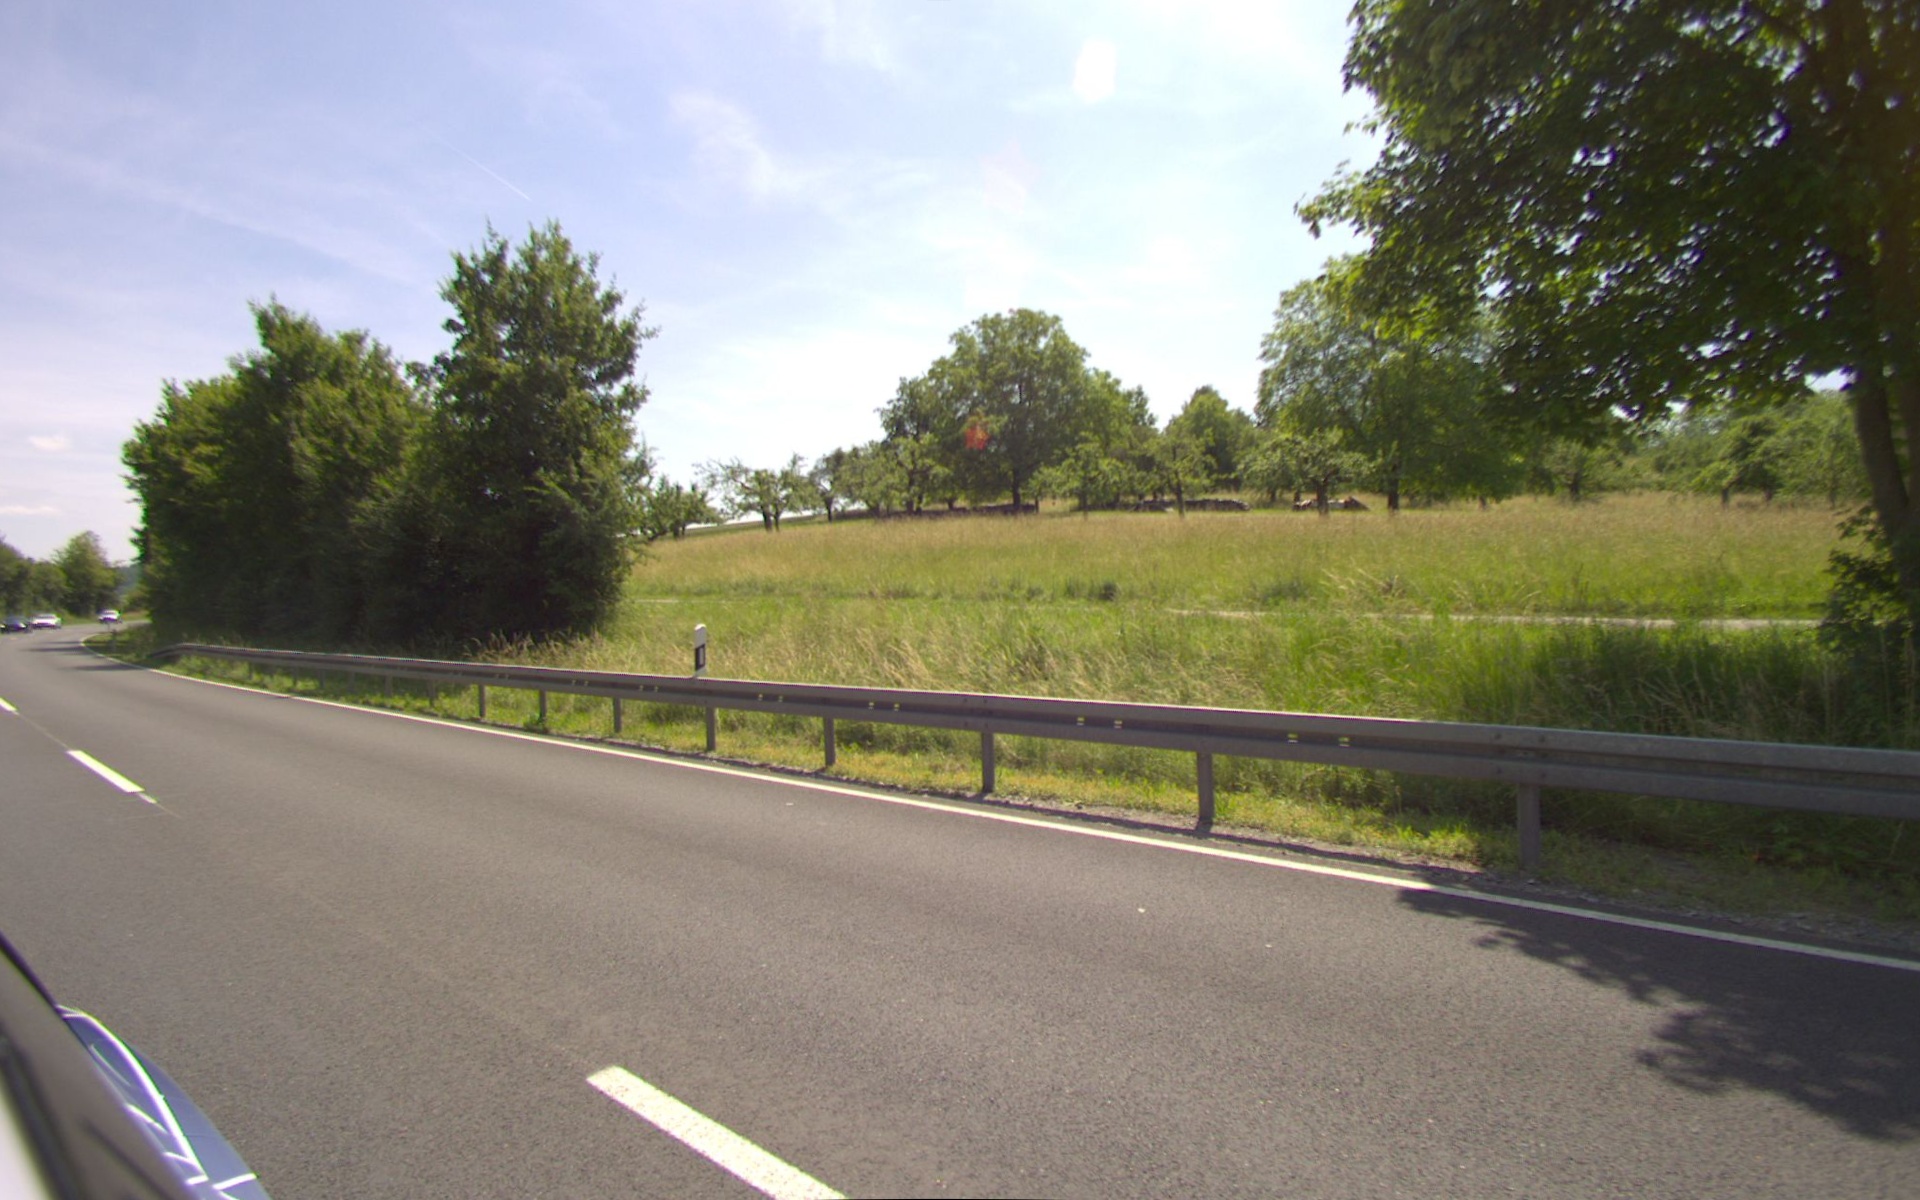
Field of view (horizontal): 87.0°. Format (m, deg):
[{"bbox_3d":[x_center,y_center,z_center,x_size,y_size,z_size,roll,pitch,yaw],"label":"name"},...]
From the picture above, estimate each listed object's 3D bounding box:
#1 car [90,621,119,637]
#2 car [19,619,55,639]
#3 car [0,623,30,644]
[{"bbox_3d":[-109.467,3.715,129.460,1.965,2.029,4.013,-1,-1,-27],"label":"car"},{"bbox_3d":[-93.838,2.952,102.938,1.966,2.029,4.011,0,-2,-32],"label":"car"},{"bbox_3d":[-79.977,2.838,85.235,1.854,1.721,4.009,0,-2,-35],"label":"car"}]
